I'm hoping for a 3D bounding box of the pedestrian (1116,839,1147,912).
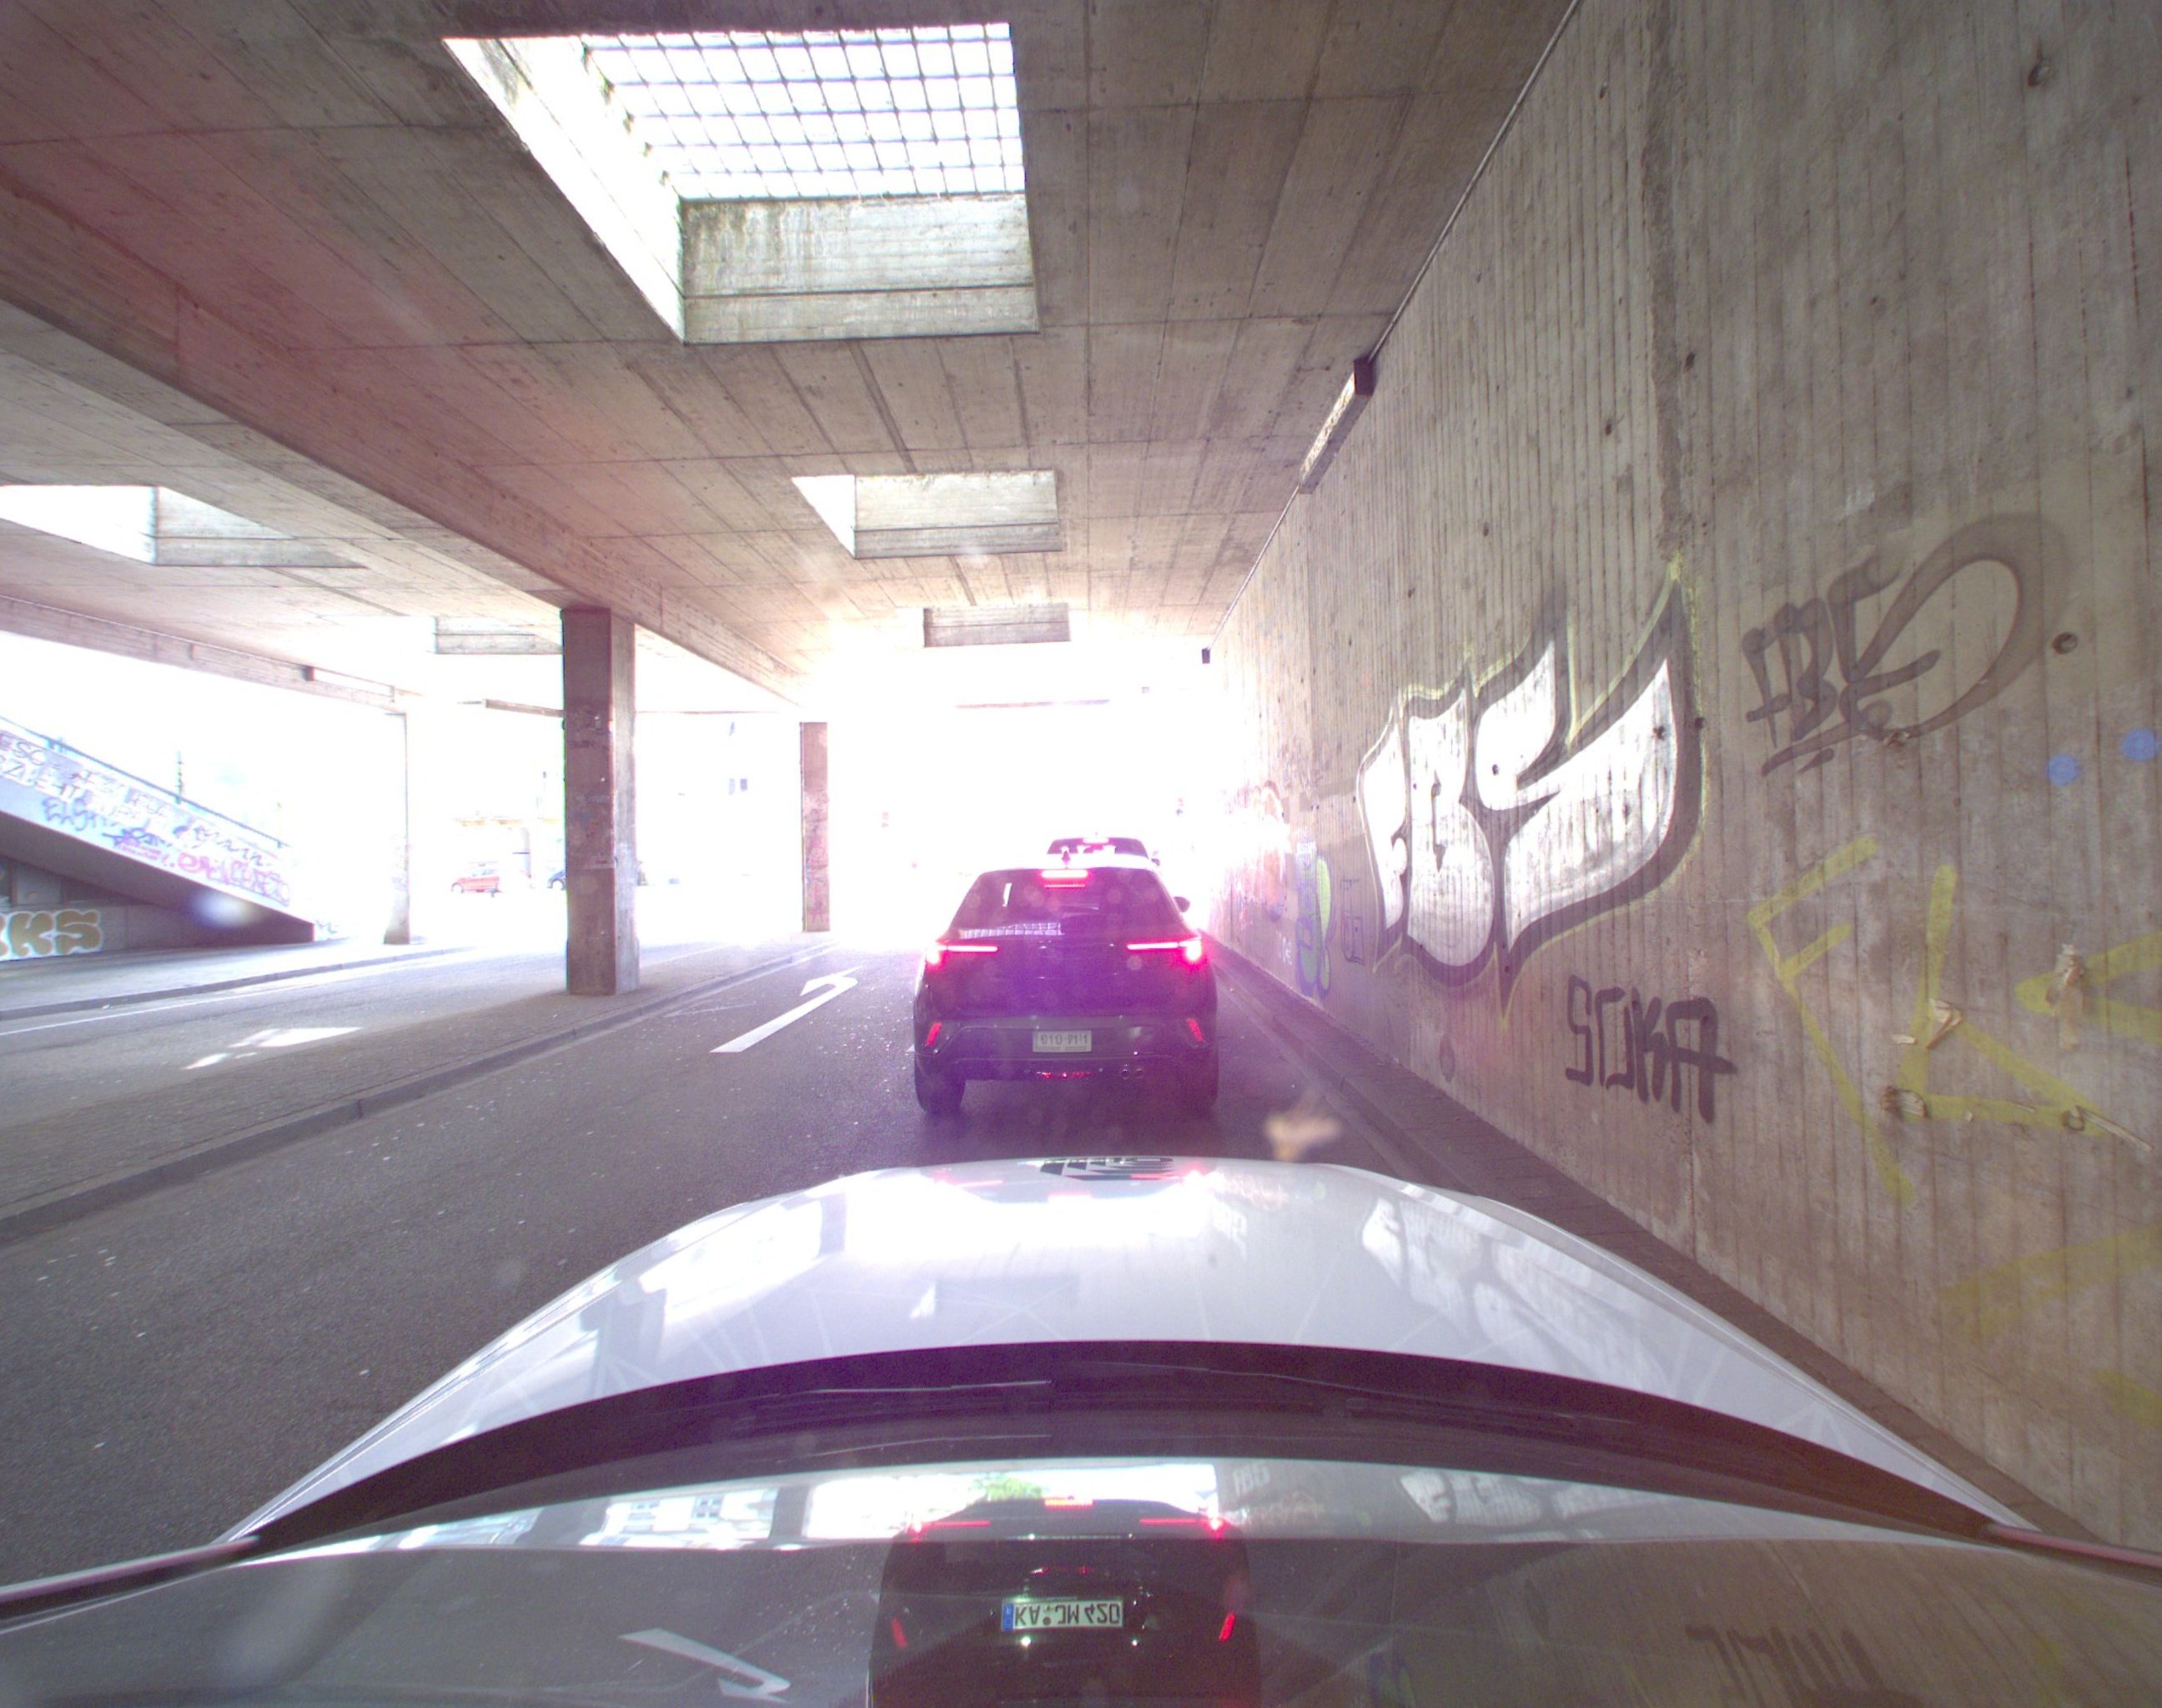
[{"bbox_3d":[1.215,0.519,19.745,0.728,1.734,0.874,0,-1,1],"label":"pedestrian"}]

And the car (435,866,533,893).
[{"bbox_3d":[-33.167,1.413,45.298,3.975,1.409,1.925,0,-1,-1],"label":"car"}]

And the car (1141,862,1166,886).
[{"bbox_3d":[6.129,1.656,68.381,1.983,1.970,4.172,0,-1,7],"label":"car"}]

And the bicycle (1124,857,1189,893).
[{"bbox_3d":[2.382,0.645,25.627,1.978,1.050,0.720,-2,-1,8],"label":"bicycle"}]

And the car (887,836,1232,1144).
[{"bbox_3d":[-0.046,0.662,6.165,1.758,1.571,4.002,0,1,2],"label":"car"}]

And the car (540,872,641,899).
[{"bbox_3d":[-27.194,1.722,45.286,4.393,1.409,1.925,0,-1,-1],"label":"car"}]

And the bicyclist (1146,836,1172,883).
[{"bbox_3d":[2.467,0.176,25.656,0.733,1.423,0.686,-3,-1,8],"label":"bicyclist"}]

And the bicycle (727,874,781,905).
[{"bbox_3d":[-11.689,1.266,29.139,1.732,1.118,0.477,0,-1,4],"label":"bicycle"}]

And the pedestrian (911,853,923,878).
[{"bbox_3d":[-11.166,0.789,55.412,0.669,1.637,0.741,0,-1,1],"label":"pedestrian"}]

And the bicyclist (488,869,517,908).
[{"bbox_3d":[-21.068,1.251,29.671,0.742,1.376,0.453,0,-1,4],"label":"bicyclist"}]

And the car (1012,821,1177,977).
[{"bbox_3d":[0.227,0.551,12.058,1.986,1.871,4.002,-2,0,2],"label":"car"}]
